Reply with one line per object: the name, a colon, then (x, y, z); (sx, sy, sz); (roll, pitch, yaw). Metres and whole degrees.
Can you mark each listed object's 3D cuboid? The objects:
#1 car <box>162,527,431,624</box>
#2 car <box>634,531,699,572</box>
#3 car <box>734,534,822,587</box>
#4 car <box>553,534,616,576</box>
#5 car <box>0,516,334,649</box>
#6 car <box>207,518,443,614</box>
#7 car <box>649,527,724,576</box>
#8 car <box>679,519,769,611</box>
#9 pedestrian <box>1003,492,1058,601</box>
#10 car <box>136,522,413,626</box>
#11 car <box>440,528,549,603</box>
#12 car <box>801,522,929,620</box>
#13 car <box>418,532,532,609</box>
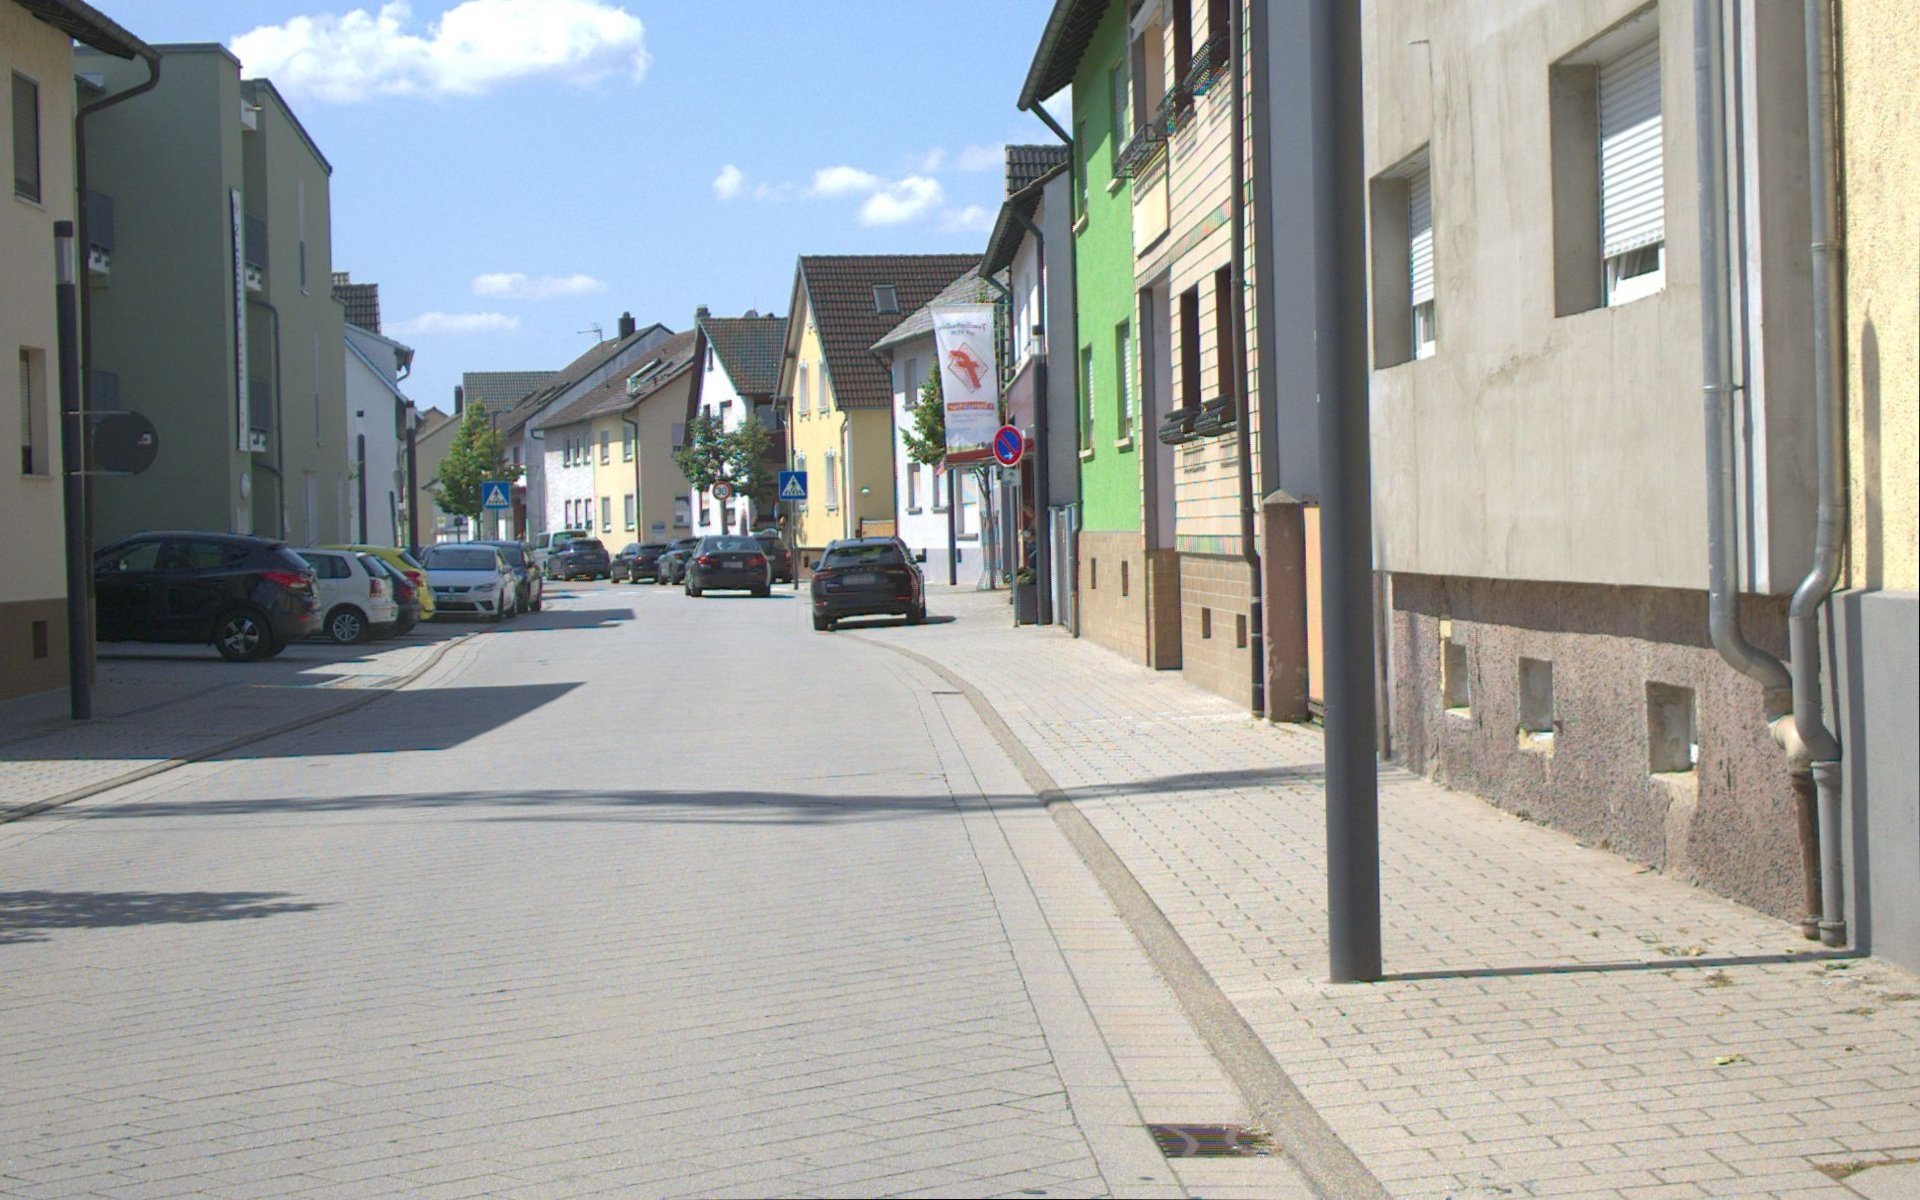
car: (-10.617, -0.404, 55.169); (3.986, 1.436, 1.691); (2, 1, -2)
car: (-10.366, -1.718, 121.264); (1.710, 1.382, 3.707); (-2, 2, -14)
car: (-5.573, -1.211, 104.556); (1.828, 1.466, 4.277); (-4, 1, -14)
car: (-14.718, -1.769, 134.630); (1.877, 1.585, 4.001); (-2, 2, -14)
car: (-10.480, -0.248, 45.143); (4.218, 1.652, 1.784); (1, 1, -2)
car: (-10.708, -0.584, 58.142); (3.692, 1.520, 1.673); (1, 1, -1)
car: (-9.077, -1.612, 113.819); (1.846, 1.557, 3.695); (-2, 2, -14)
car: (-5.611, -0.864, 81.504); (1.993, 2.050, 4.375); (-2, 1, -4)
pedestrian: (1.100, -0.827, 53.312); (0.729, 1.634, 0.749); (-4, 1, 2)
car: (-10.534, -0.414, 53.012); (3.901, 1.497, 1.751); (1, 1, 0)
car: (-9.718, -0.745, 72.030); (1.813, 1.485, 4.278); (0, 1, -2)
car: (-1.548, -0.515, 57.333); (1.858, 1.454, 4.586); (-3, 1, 1)
car: (-9.329, -0.592, 66.344); (1.757, 1.406, 3.878); (1, 1, -2)
